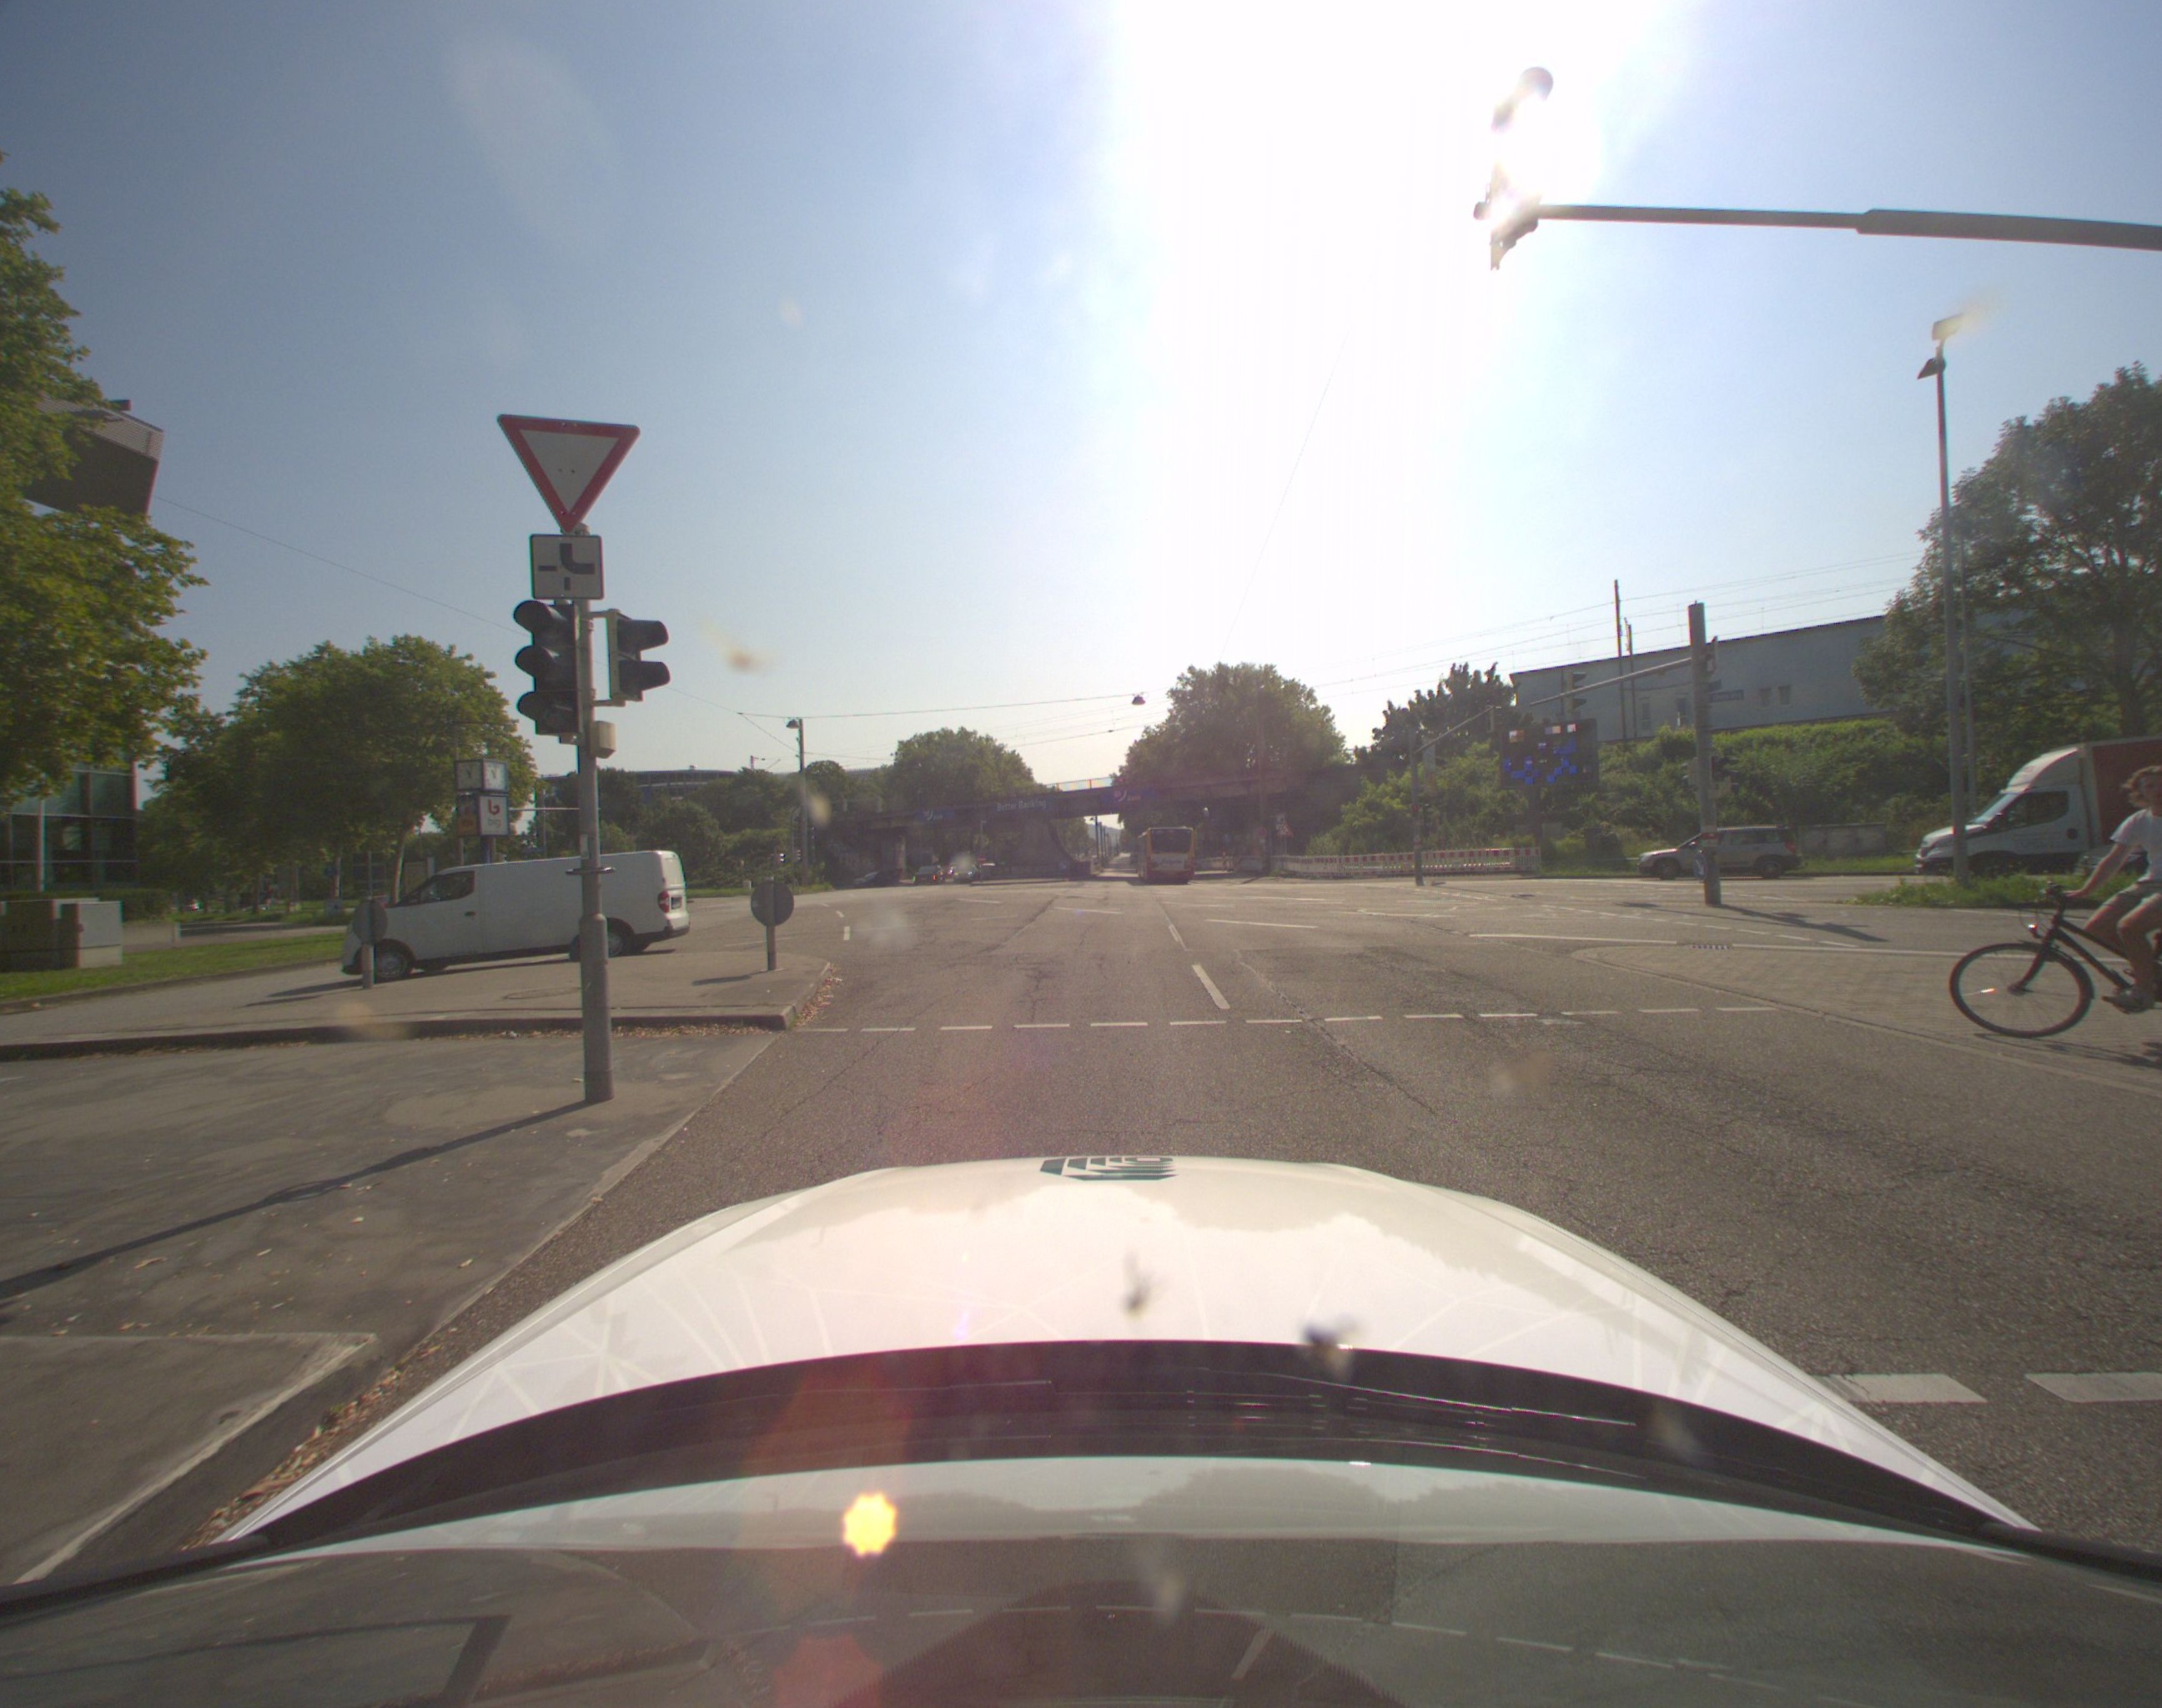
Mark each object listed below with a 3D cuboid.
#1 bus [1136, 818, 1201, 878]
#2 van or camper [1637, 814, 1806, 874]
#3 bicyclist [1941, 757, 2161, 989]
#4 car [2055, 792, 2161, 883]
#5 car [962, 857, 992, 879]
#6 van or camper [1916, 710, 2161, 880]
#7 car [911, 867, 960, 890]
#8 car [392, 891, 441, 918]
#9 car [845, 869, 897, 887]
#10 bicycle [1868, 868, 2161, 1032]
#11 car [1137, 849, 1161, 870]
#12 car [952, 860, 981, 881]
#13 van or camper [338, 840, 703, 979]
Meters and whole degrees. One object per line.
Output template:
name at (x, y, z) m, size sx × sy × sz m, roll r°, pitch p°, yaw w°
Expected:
bus at (4.991, -0.303, 48.657) m, size 3.122 × 3.113 × 12.298 m, roll 0°, pitch 0°, yaw 3°
van or camper at (20.288, -0.283, 25.960) m, size 4.120 × 1.776 × 1.863 m, roll 0°, pitch 0°, yaw 38°
bicyclist at (7.297, 0.135, 5.991) m, size 1.190 × 1.594 × 0.601 m, roll 0°, pitch -1°, yaw 26°
car at (21.118, -0.298, 14.125) m, size 5.129 × 1.613 × 1.918 m, roll 0°, pitch 0°, yaw 40°
car at (-8.926, 1.187, 70.089) m, size 1.988 × 1.572 × 4.346 m, roll -2°, pitch 2°, yaw -1°
van or camper at (22.300, -1.168, 16.875) m, size 6.763 × 3.362 × 2.263 m, roll 0°, pitch 0°, yaw 40°
car at (-11.782, 1.976, 66.298) m, size 1.886 × 1.617 × 4.495 m, roll -4°, pitch -1°, yaw 18°
car at (-43.988, 3.371, 53.904) m, size 3.682 × 1.535 × 1.684 m, roll -4°, pitch 1°, yaw 39°
car at (-17.954, 2.044, 69.734) m, size 4.023 × 1.428 × 1.764 m, roll 0°, pitch 0°, yaw -45°
bicycle at (7.346, 0.660, 5.919) m, size 2.192 × 1.087 × 0.777 m, roll -1°, pitch 0°, yaw 26°
car at (6.653, 0.522, 79.649) m, size 1.987 × 2.014 × 3.999 m, roll 0°, pitch 0°, yaw 0°
car at (-9.170, 1.303, 65.332) m, size 1.716 × 1.538 × 3.694 m, roll -3°, pitch 0°, yaw -1°
van or camper at (-9.754, 0.889, 14.656) m, size 4.938 × 1.947 × 1.838 m, roll -4°, pitch 0°, yaw -14°
